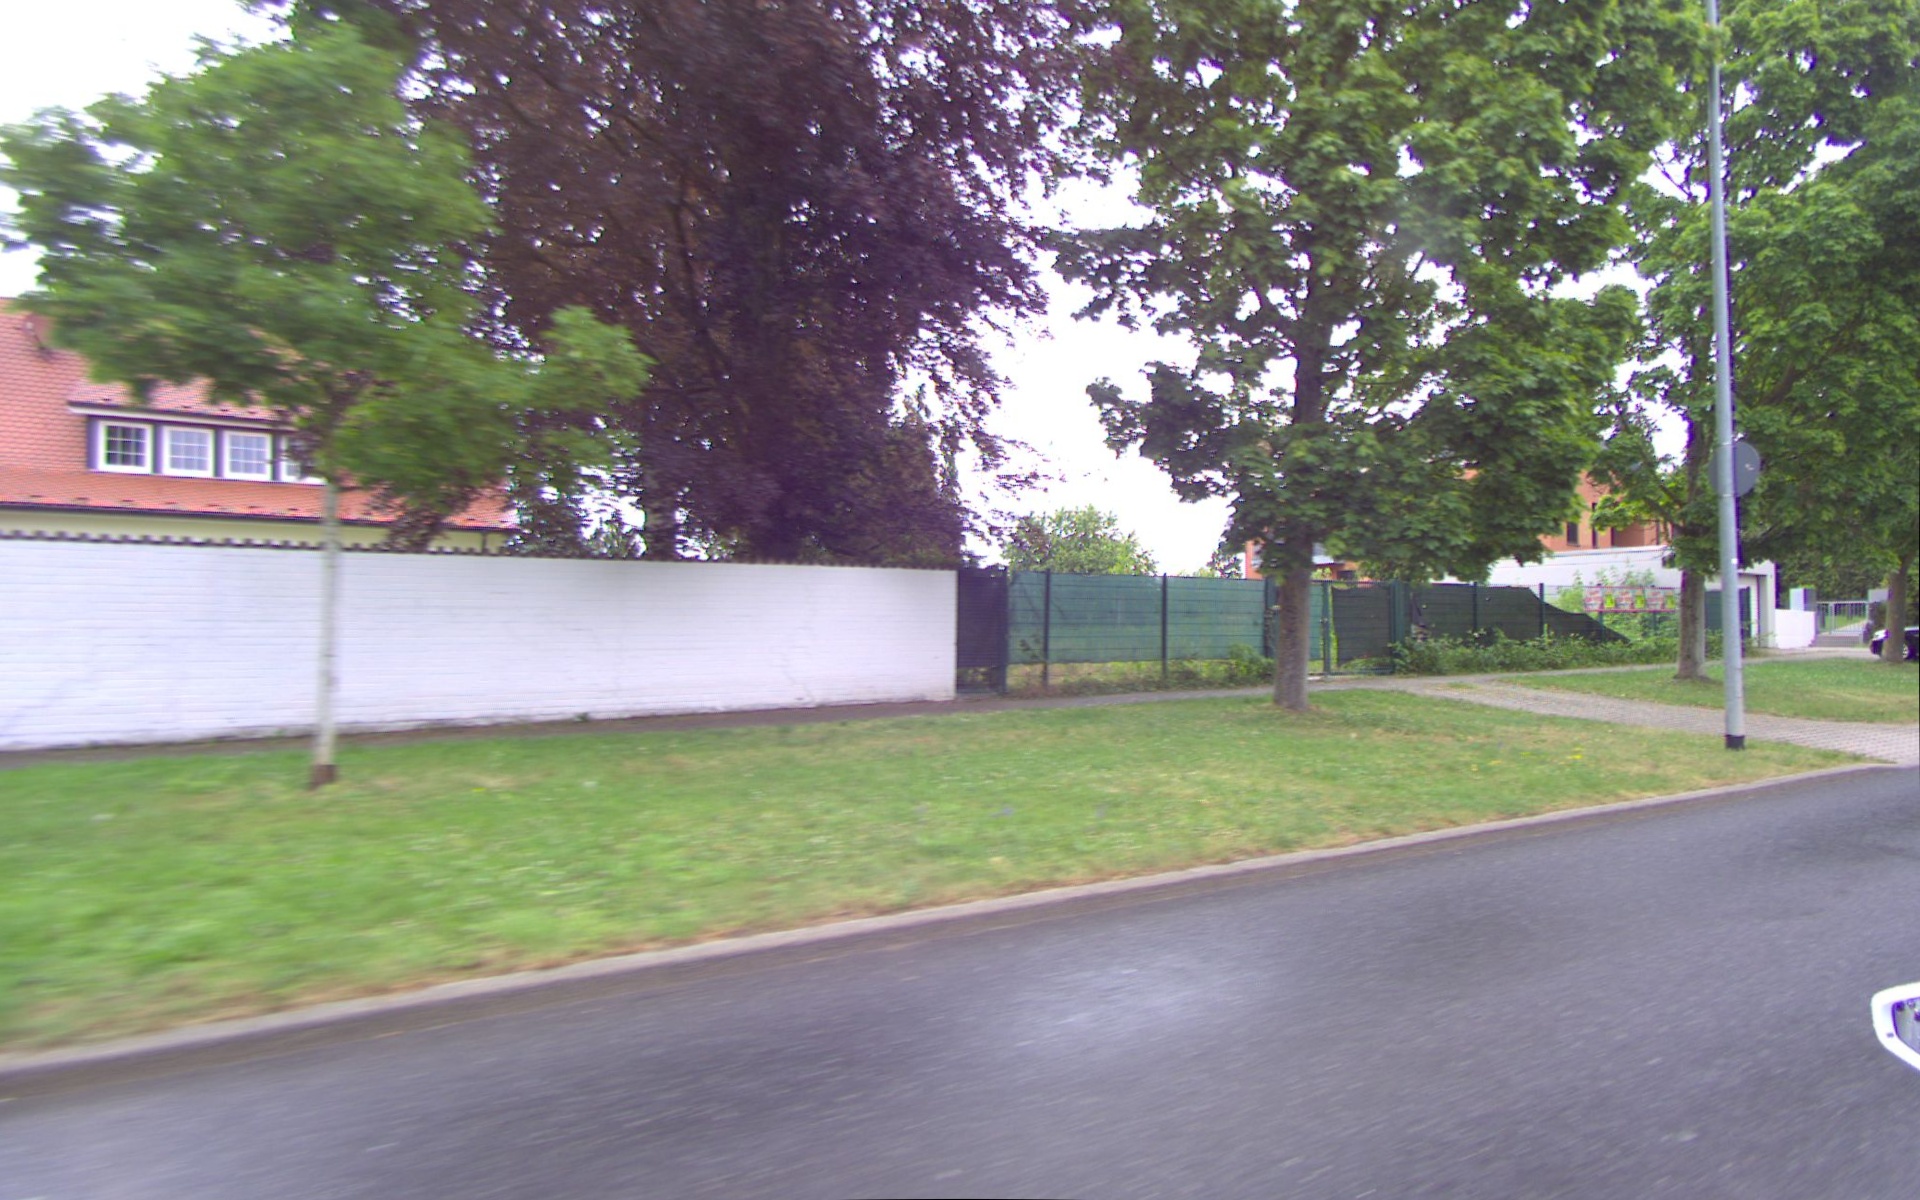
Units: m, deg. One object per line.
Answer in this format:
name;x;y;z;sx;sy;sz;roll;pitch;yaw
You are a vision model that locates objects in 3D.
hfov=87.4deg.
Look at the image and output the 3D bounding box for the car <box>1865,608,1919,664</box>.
car;25.328;0.933;24.753;1.667;1.381;4.205;1;0;-25
